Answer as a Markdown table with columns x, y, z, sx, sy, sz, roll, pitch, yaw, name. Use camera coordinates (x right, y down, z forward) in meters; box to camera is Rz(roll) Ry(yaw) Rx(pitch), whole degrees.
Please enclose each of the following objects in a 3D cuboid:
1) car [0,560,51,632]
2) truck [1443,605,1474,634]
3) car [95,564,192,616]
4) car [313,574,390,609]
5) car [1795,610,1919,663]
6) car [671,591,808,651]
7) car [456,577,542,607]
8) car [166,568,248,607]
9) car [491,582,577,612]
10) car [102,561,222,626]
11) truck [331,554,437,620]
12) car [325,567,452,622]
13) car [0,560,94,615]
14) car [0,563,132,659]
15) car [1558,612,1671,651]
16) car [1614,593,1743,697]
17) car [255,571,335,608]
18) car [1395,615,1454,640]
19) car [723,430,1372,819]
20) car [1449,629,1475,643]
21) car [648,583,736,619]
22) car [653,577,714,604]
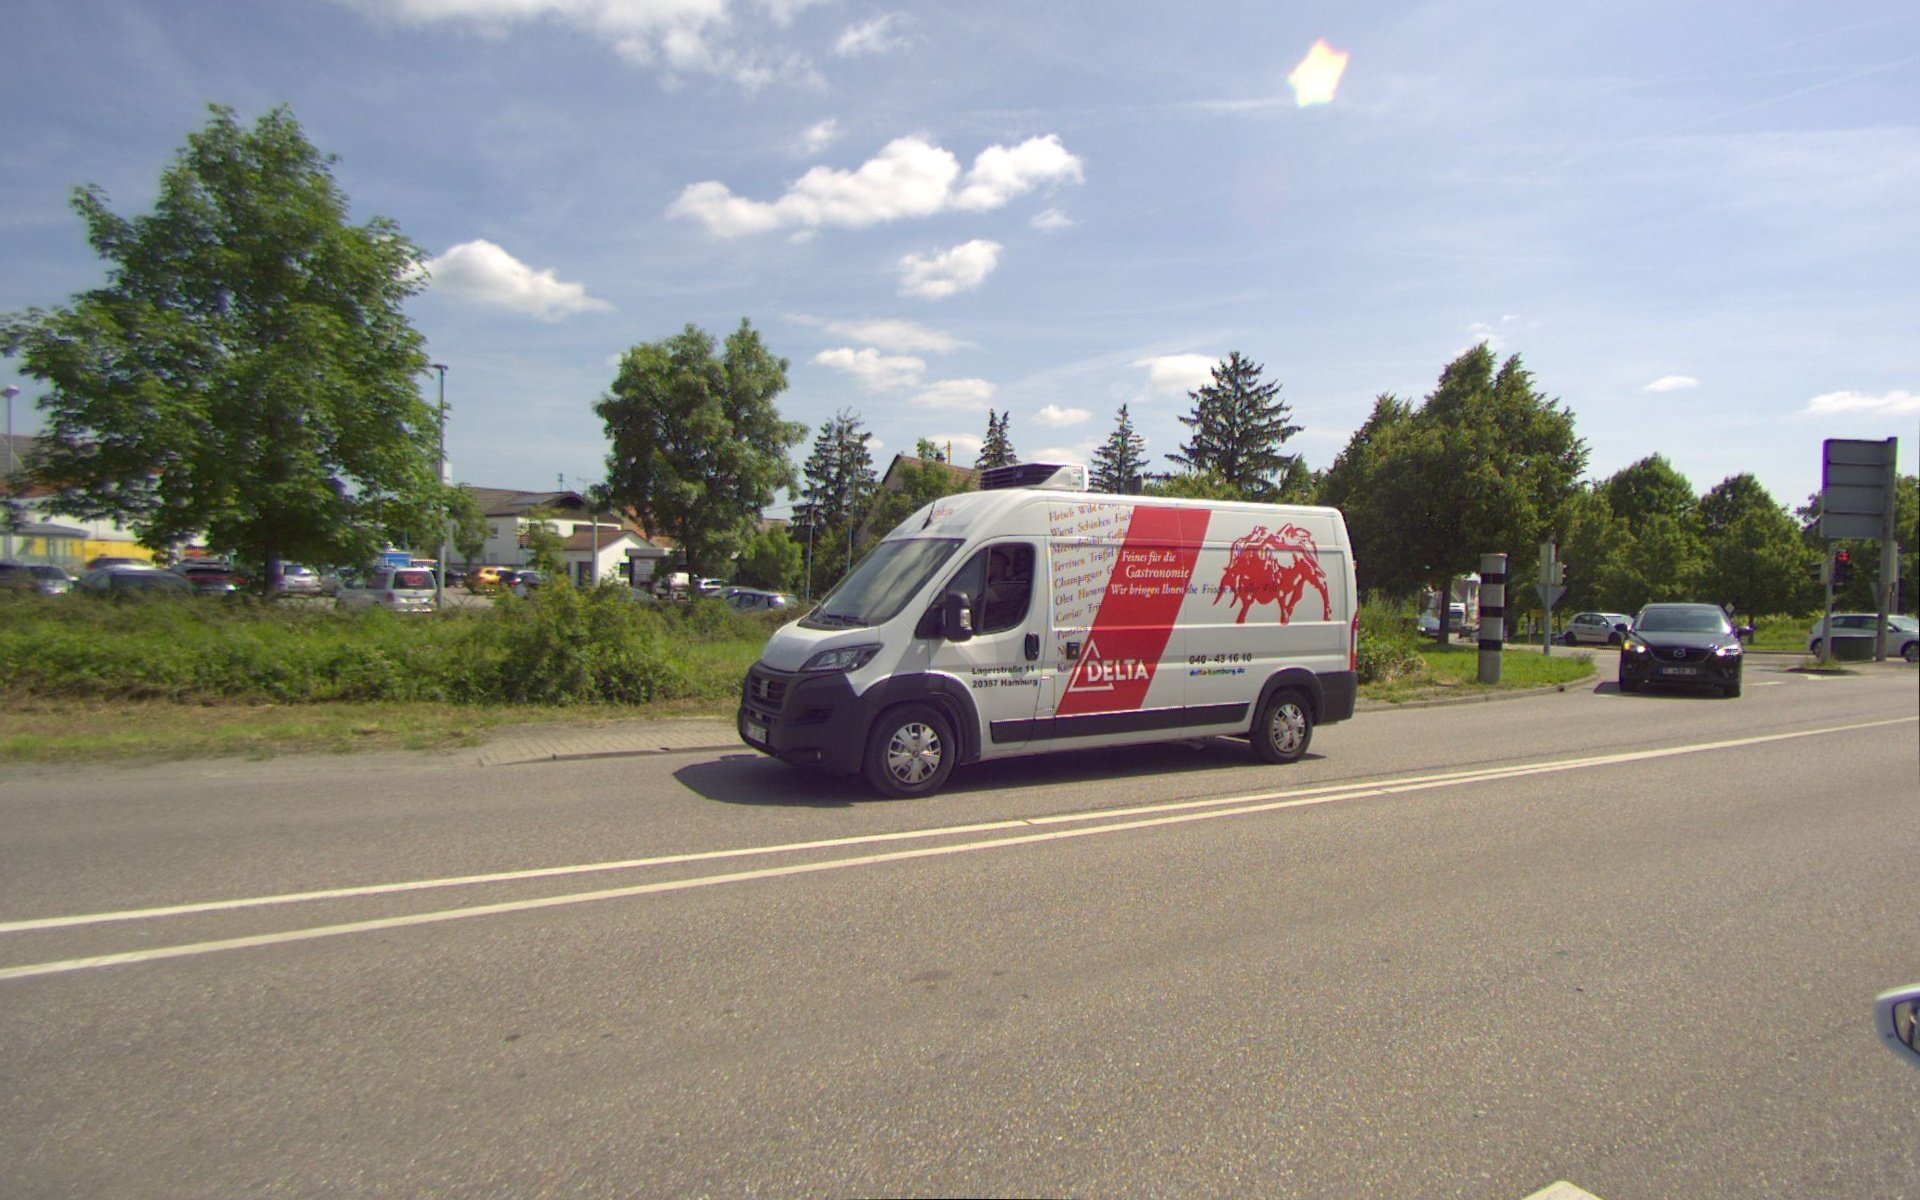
| x | y | z | sx | sy | sz | roll | pitch | yaw | name |
| --- | --- | --- | --- | --- | --- | --- | --- | --- | --- |
| -24.793 | -0.157 | 25.570 | 3.939 | 1.697 | 1.903 | 3 | 1 | 40 | car |
| 68.266 | 2.694 | 137.462 | 2.896 | 3.848 | 7.907 | 2 | 0 | 32 | truck |
| -26.500 | -0.330 | 32.567 | 3.941 | 1.549 | 1.770 | 2 | 0 | 41 | car |
| -28.999 | -0.404 | 47.831 | 4.193 | 1.562 | 1.871 | 2 | 0 | 40 | car |
| 28.703 | 1.102 | 31.085 | 1.778 | 1.480 | 4.251 | 0 | 1 | -11 | car |
| -7.069 | 0.648 | 32.207 | 3.928 | 1.751 | 1.997 | 2 | 0 | 29 | car |
| -27.118 | -0.460 | 59.237 | 1.849 | 1.562 | 4.243 | 2 | 0 | 37 | car |
| -32.389 | -0.554 | 43.177 | 4.193 | 1.562 | 1.871 | 2 | 0 | 40 | car |
| -24.539 | -0.173 | 57.982 | 1.849 | 1.562 | 4.243 | 2 | 0 | 37 | car |
| -22.837 | -0.191 | 28.690 | 3.939 | 1.711 | 1.918 | 2 | 0 | 40 | car |
| -22.329 | -0.513 | 38.929 | 3.932 | 2.397 | 1.994 | 2 | 0 | 34 | truck |
| -19.306 | -0.196 | 33.900 | 4.353 | 1.717 | 1.994 | 1 | 0 | 34 | car |
| -28.215 | -0.402 | 30.753 | 3.936 | 1.549 | 1.772 | 2 | 0 | 37 | car |
| -17.546 | 0.175 | 19.469 | 3.941 | 1.679 | 1.686 | 2 | 0 | 42 | car |
| 26.951 | 1.262 | 41.521 | 1.761 | 1.436 | 4.044 | 0 | 1 | -6 | car |
| 13.890 | 0.797 | 19.448 | 1.842 | 1.773 | 4.095 | 0 | 0 | 36 | car |
| -30.277 | -0.481 | 45.688 | 4.193 | 1.562 | 1.871 | 2 | 0 | 40 | car |
| 27.686 | 1.615 | 60.003 | 1.707 | 1.322 | 4.282 | 1 | 0 | 4 | car |
| 1.008 | 0.187 | 9.379 | 5.916 | 2.690 | 2.107 | 1 | 0 | -31 | car |
| 54.306 | 3.859 | 108.596 | 1.966 | 1.448 | 3.989 | 2 | 0 | 33 | car |
| -13.573 | 0.079 | 51.030 | 1.883 | 1.662 | 3.984 | 2 | 0 | 38 | car |
| -20.165 | -0.699 | 73.424 | 1.866 | 1.782 | 3.988 | 2 | 0 | 35 | car |
